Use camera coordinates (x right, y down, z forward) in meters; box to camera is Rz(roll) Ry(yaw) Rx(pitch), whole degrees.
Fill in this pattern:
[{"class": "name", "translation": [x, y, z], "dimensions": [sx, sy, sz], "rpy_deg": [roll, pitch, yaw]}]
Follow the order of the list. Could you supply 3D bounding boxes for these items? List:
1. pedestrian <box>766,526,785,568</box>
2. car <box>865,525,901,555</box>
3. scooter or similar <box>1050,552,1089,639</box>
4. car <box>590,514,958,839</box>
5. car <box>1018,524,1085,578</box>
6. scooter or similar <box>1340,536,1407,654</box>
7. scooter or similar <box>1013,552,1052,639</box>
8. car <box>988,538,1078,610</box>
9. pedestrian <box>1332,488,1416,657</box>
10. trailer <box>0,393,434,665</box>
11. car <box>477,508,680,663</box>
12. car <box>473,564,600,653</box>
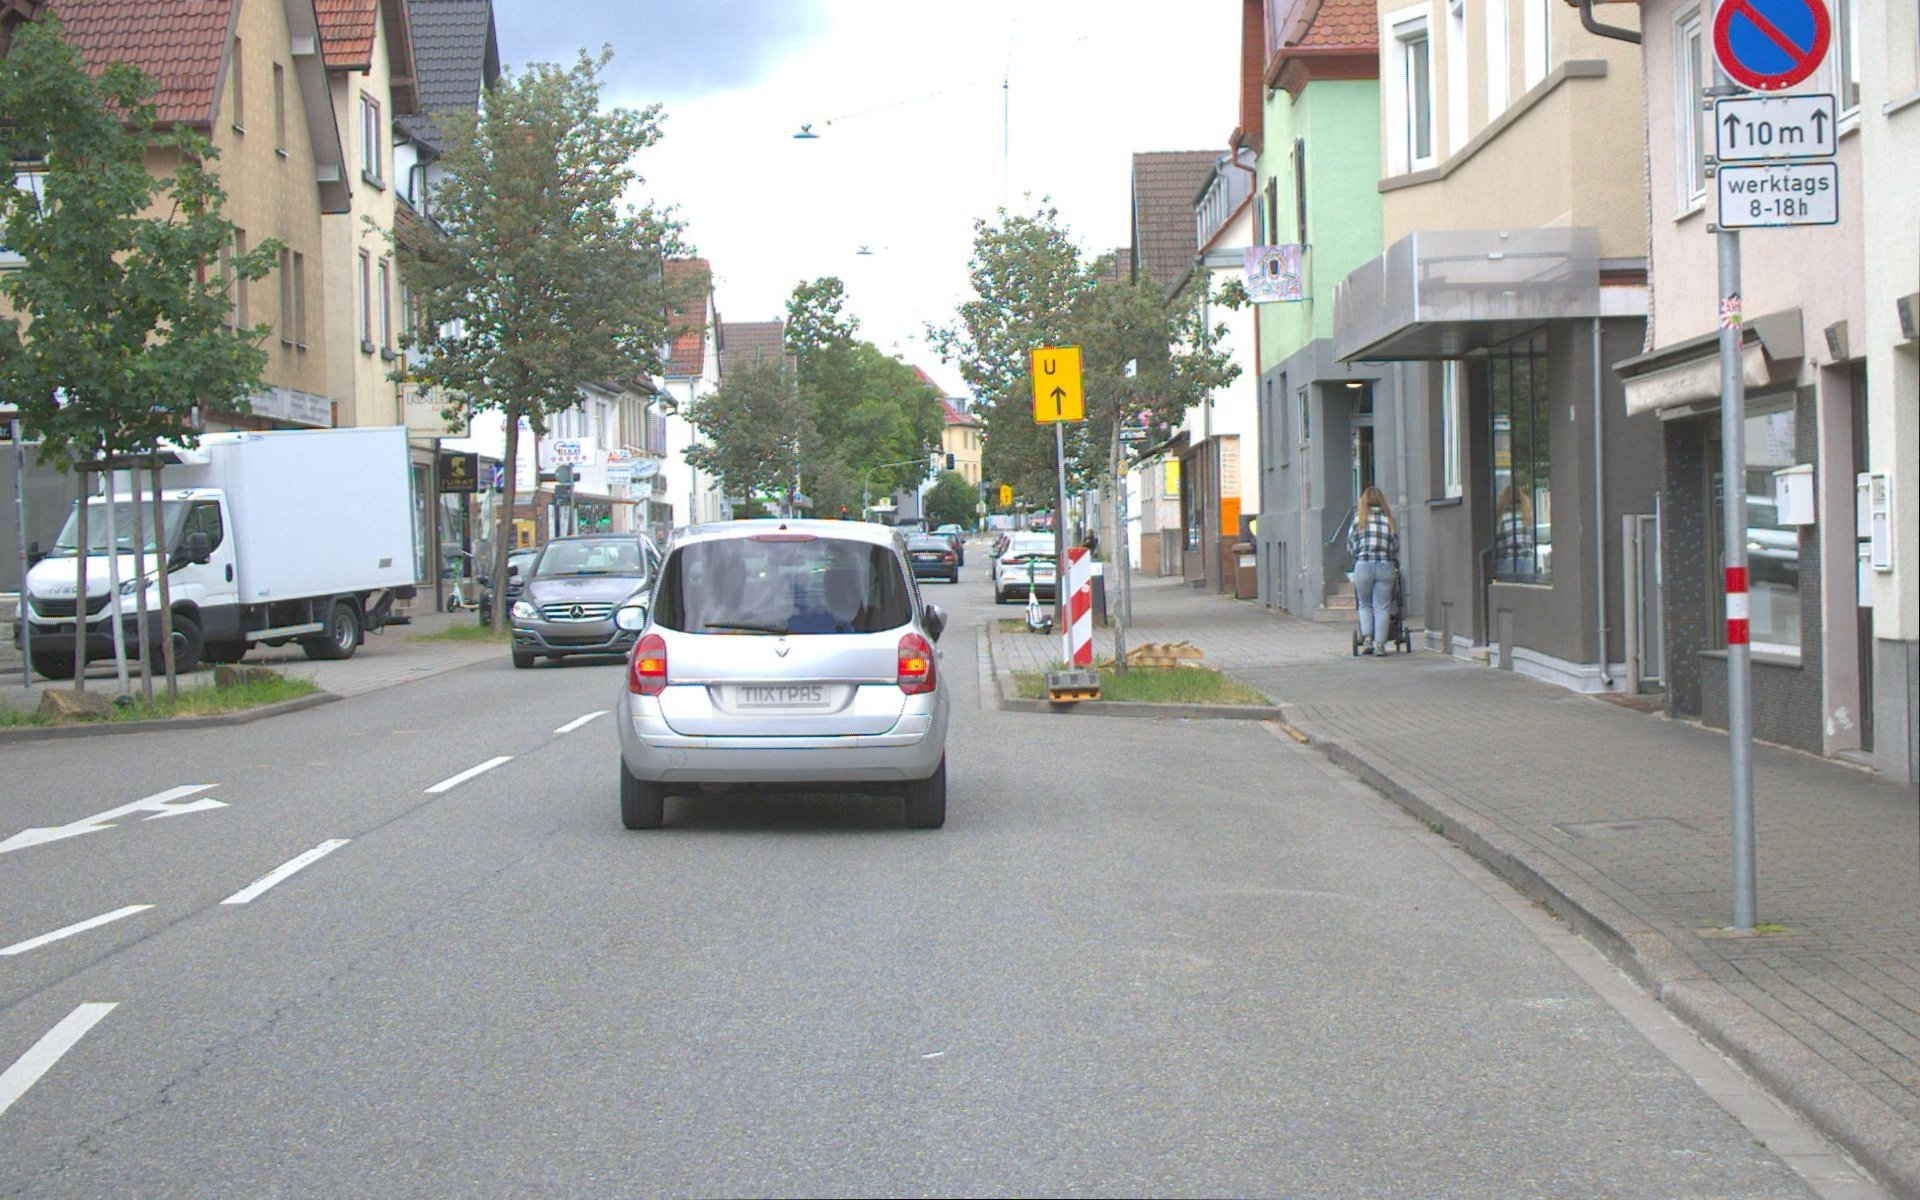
[{"class": "pedestrian", "translation": [-7.889, -2.257, 147.206], "dimensions": [0.762, 1.785, 0.890], "rpy_deg": [0, 1, 0]}, {"class": "car", "translation": [-4.609, -3.567, 205.118], "dimensions": [1.900, 1.731, 4.366], "rpy_deg": [-2, 1, 1]}, {"class": "scooter or similar", "translation": [1.580, -0.075, 49.839], "dimensions": [0.502, 1.231, 1.942], "rpy_deg": [0, 1, 0]}, {"class": "car", "translation": [-0.907, 0.338, 18.702], "dimensions": [1.682, 1.560, 3.993], "rpy_deg": [1, 1, 1]}, {"class": "car", "translation": [2.597, -1.409, 98.017], "dimensions": [1.831, 1.492, 3.993], "rpy_deg": [1, 1, 1]}, {"class": "scooter or similar", "translation": [4.372, -0.061, 36.364], "dimensions": [0.589, 1.228, 0.891], "rpy_deg": [0, 1, 0]}, {"class": "scooter or similar", "translation": [1.046, -0.077, 49.833], "dimensions": [0.502, 1.231, 1.942], "rpy_deg": [0, 1, 0]}, {"class": "car", "translation": [1.536, -0.569, 72.734], "dimensions": [1.831, 1.441, 4.331], "rpy_deg": [1, 1, 1]}, {"class": "pedestrian", "translation": [4.259, -0.286, 35.435], "dimensions": [0.750, 1.714, 0.900], "rpy_deg": [0, 1, 1]}, {"class": "trailer", "translation": [-9.657, -0.896, 44.304], "dimensions": [2.506, 3.208, 7.128], "rpy_deg": [1, 1, 21]}, {"class": "car", "translation": [-4.689, -0.206, 42.865], "dimensions": [1.993, 1.790, 4.277], "rpy_deg": [-2, 1, 0]}, {"class": "car", "translation": [-7.296, 0.119, 59.552], "dimensions": [1.682, 1.420, 3.931], "rpy_deg": [-2, 1, 0]}]
